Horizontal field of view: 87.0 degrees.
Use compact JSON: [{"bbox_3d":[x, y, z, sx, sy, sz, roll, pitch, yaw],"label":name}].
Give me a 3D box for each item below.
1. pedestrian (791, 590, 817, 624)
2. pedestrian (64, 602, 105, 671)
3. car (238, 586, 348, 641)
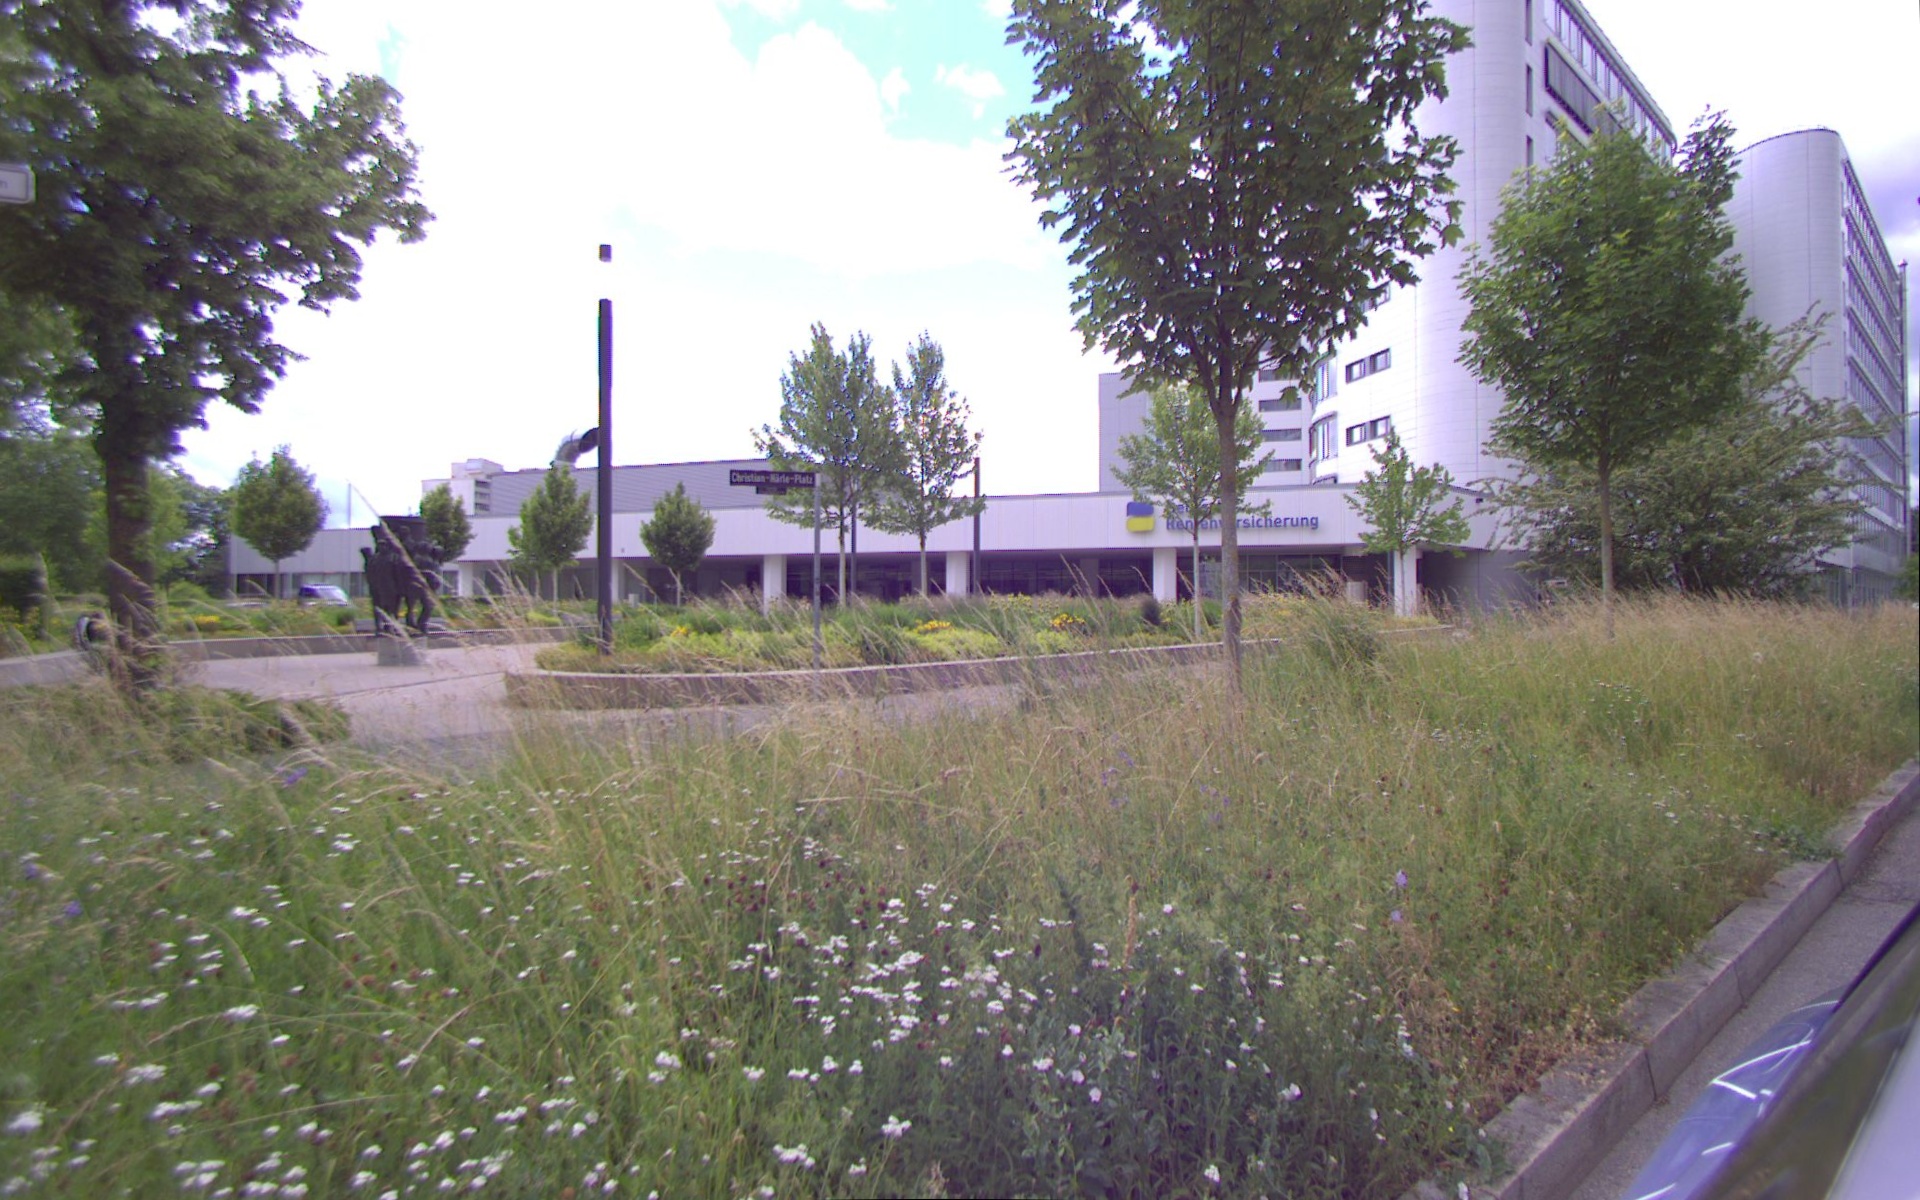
[{"bbox_3d":[-5.983,0.268,38.876,0.869,1.290,0.704,0,0,3],"label":"pedestrian"},{"bbox_3d":[-16.678,0.675,19.279,0.560,1.278,0.581,-1,0,-43],"label":"pedestrian"},{"bbox_3d":[-22.566,0.441,34.232,3.470,1.788,1.622,0,0,27],"label":"car"}]
